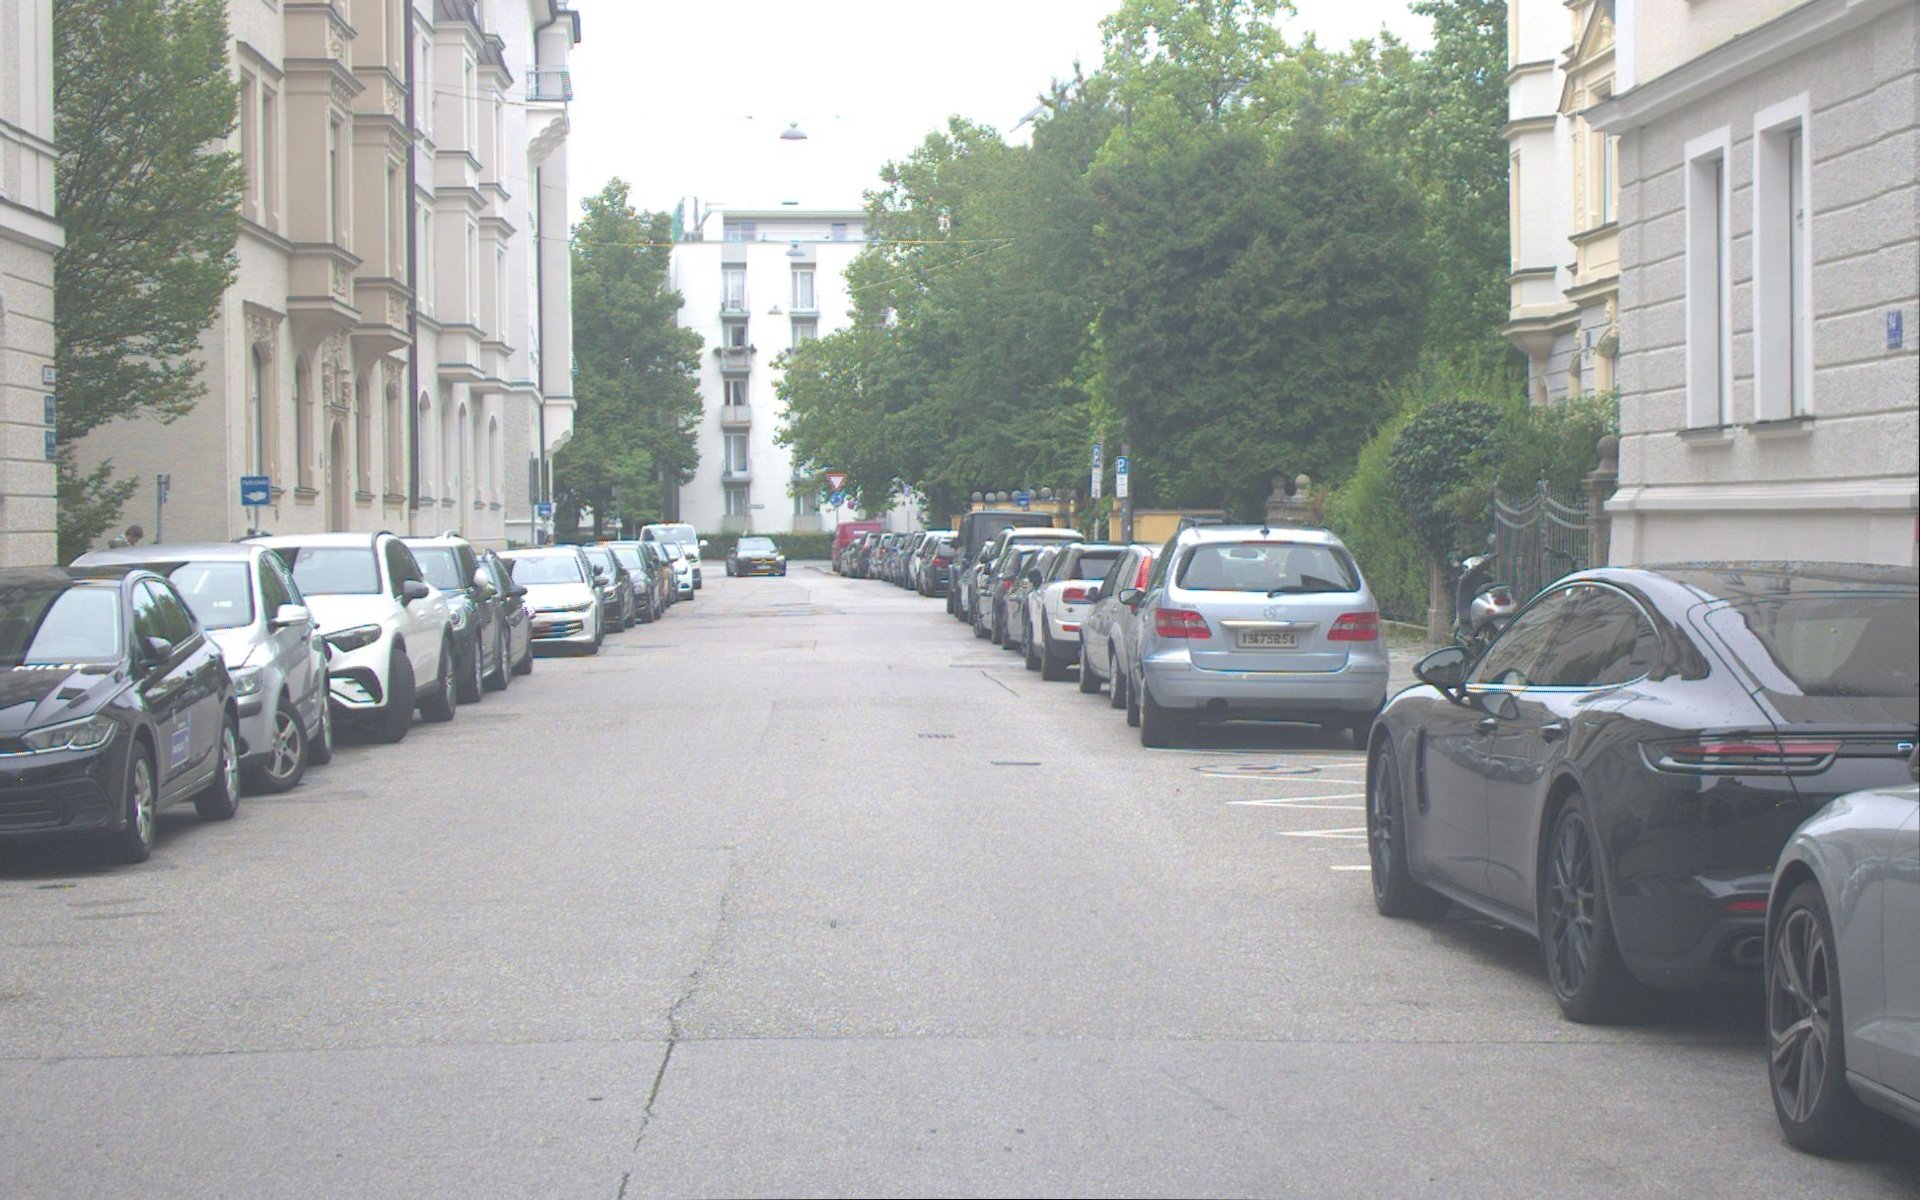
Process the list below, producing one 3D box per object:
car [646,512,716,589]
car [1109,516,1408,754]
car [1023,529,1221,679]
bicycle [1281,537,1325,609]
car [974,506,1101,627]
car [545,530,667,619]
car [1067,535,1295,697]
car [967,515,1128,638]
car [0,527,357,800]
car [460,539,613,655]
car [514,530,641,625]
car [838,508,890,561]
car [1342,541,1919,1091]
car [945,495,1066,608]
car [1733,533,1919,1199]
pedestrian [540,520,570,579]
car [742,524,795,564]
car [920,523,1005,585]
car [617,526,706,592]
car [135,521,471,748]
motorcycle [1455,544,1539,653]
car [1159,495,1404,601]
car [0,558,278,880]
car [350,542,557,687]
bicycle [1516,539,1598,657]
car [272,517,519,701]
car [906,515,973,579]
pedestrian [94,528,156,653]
[{"bbox_3d":[-8.302,-1.512,102.596,1.886,2.120,4.707,-4,2,-4],"label":"car"},{"bbox_3d":[2.171,0.190,26.106,1.822,1.564,4.401,2,2,0],"label":"car"},{"bbox_3d":[1.680,-0.002,36.920,1.784,1.499,4.065,0,1,-2],"label":"car"},{"bbox_3d":[5.317,-0.421,53.313,0.454,1.095,1.314,-1,1,-4],"label":"bicycle"},{"bbox_3d":[1.186,-0.539,54.126,1.723,1.763,4.413,2,1,-2],"label":"car"},{"bbox_3d":[-6.497,-0.492,63.439,1.836,1.431,4.245,-4,2,-2],"label":"car"},{"bbox_3d":[1.988,0.108,31.818,1.754,1.401,3.452,0,1,-2],"label":"car"},{"bbox_3d":[1.204,-0.375,49.233,1.750,1.605,4.425,1,2,-5],"label":"car"},{"bbox_3d":[-5.075,0.331,22.607,1.782,1.536,4.258,-3,1,-5],"label":"car"},{"bbox_3d":[-5.917,-0.082,48.449,1.836,1.429,4.245,-2,2,-4],"label":"car"},{"bbox_3d":[-6.390,-0.412,57.886,1.833,1.429,4.554,-2,2,-3],"label":"car"},{"bbox_3d":[-3.688,-2.534,132.201,1.836,1.920,4.005,2,2,0],"label":"car"},{"bbox_3d":[2.752,0.556,11.913,1.993,1.452,4.713,-1,1,-4],"label":"car"},{"bbox_3d":[0.803,-0.932,63.804,1.950,1.947,4.667,1,2,-3],"label":"car"},{"bbox_3d":[2.954,0.666,6.641,1.760,1.480,4.421,2,2,-2],"label":"car"},{"bbox_3d":[-11.552,-1.454,98.114,0.792,1.673,0.700,-1,1,-10],"label":"pedestrian"},{"bbox_3d":[-7.178,-2.105,128.494,1.874,1.423,4.410,-1,1,-4],"label":"car"},{"bbox_3d":[0.031,-1.096,81.848,1.838,1.408,4.343,0,1,-2],"label":"car"},{"bbox_3d":[-7.282,-1.026,84.104,1.836,1.433,4.275,-4,2,-2],"label":"car"},{"bbox_3d":[-5.164,0.198,27.617,1.915,1.613,4.572,-1,2,-2],"label":"car"},{"bbox_3d":[5.678,-0.028,36.451,0.607,1.108,1.964,-1,1,1],"label":"motorcycle"},{"bbox_3d":[6.418,-1.058,68.863,4.528,1.943,1.904,-2,3,-8],"label":"car"},{"bbox_3d":[-4.837,0.555,17.919,1.792,1.410,4.279,-3,1,-2],"label":"car"},{"bbox_3d":[-5.462,0.109,37.558,1.787,1.407,4.368,-1,2,-3],"label":"car"},{"bbox_3d":[5.977,-0.035,34.466,0.434,1.122,1.882,-1,1,-2],"label":"bicycle"},{"bbox_3d":[-5.372,0.033,33.188,1.836,1.613,4.245,-1,2,-3],"label":"car"},{"bbox_3d":[-0.569,-1.416,91.884,1.513,1.656,3.675,0,1,-5],"label":"car"},{"bbox_3d":[-10.974,-0.136,45.193,0.673,1.620,0.631,-1,1,-5],"label":"pedestrian"}]
